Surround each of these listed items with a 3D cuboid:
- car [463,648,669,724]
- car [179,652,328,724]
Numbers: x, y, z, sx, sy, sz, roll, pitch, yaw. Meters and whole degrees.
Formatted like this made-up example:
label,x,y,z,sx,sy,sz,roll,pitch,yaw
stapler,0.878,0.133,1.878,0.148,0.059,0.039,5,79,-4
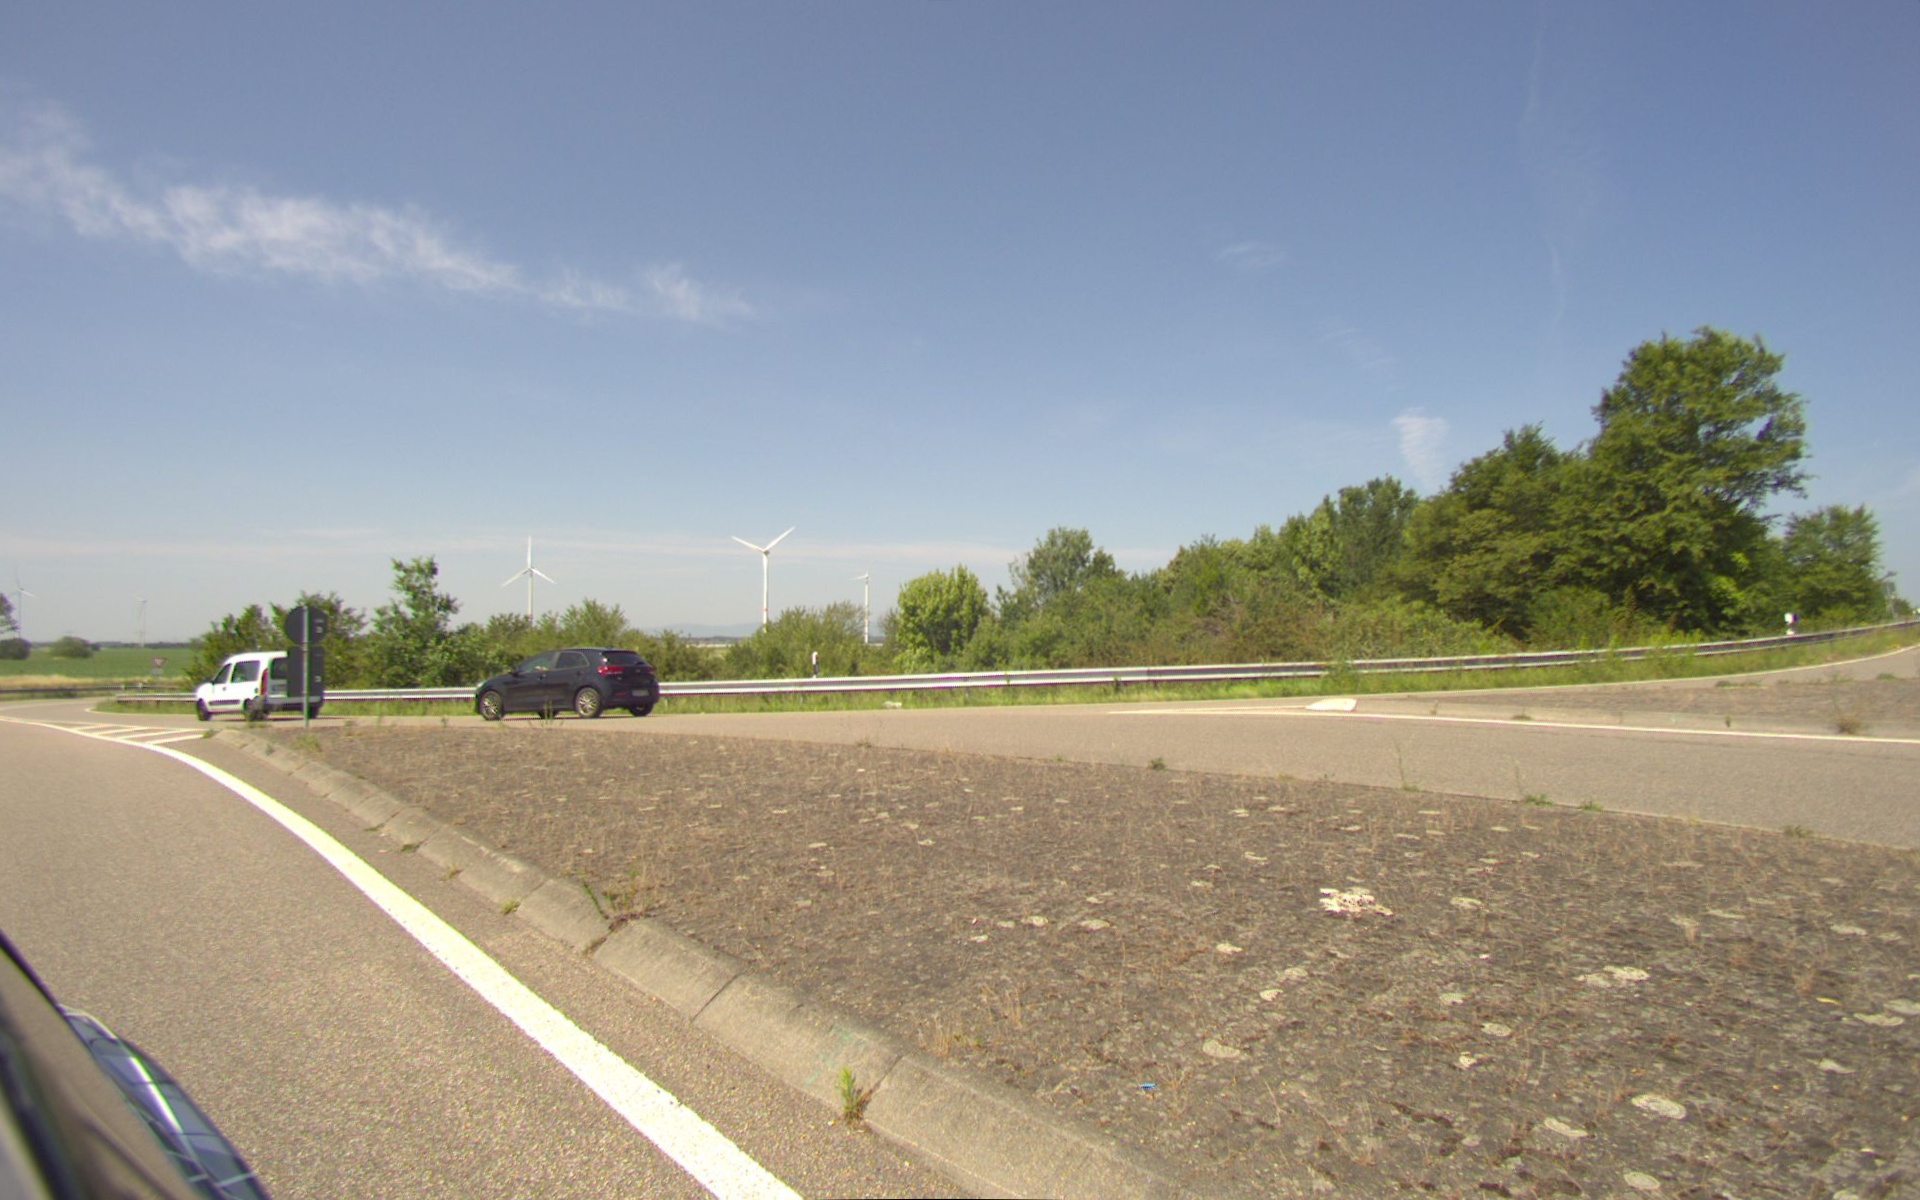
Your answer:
label,x,y,z,sx,sy,sz,roll,pitch,yaw
car,-8.168,1.777,21.005,3.858,1.406,1.702,-4,-4,20
car,-18.921,2.363,27.080,4.066,1.775,1.724,-4,-5,30
